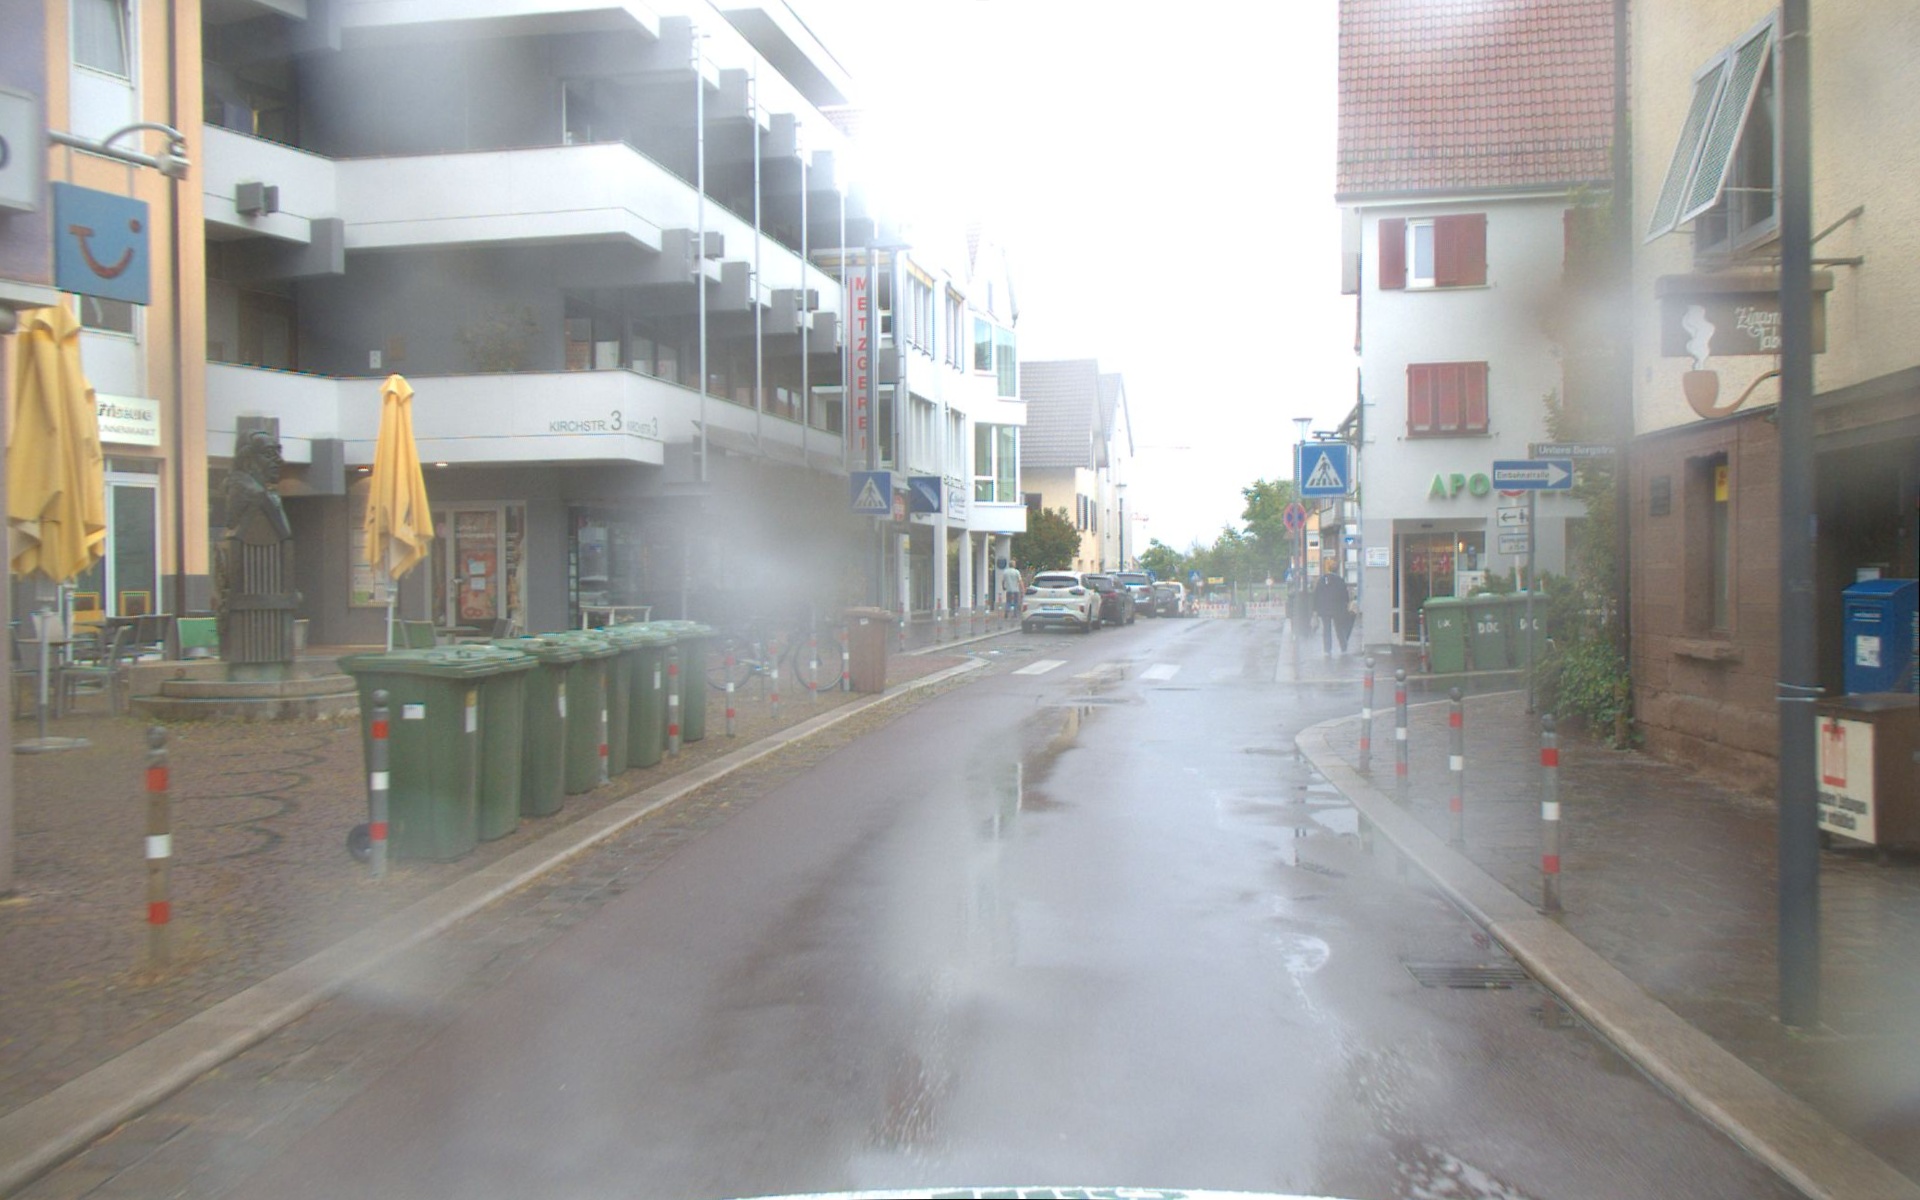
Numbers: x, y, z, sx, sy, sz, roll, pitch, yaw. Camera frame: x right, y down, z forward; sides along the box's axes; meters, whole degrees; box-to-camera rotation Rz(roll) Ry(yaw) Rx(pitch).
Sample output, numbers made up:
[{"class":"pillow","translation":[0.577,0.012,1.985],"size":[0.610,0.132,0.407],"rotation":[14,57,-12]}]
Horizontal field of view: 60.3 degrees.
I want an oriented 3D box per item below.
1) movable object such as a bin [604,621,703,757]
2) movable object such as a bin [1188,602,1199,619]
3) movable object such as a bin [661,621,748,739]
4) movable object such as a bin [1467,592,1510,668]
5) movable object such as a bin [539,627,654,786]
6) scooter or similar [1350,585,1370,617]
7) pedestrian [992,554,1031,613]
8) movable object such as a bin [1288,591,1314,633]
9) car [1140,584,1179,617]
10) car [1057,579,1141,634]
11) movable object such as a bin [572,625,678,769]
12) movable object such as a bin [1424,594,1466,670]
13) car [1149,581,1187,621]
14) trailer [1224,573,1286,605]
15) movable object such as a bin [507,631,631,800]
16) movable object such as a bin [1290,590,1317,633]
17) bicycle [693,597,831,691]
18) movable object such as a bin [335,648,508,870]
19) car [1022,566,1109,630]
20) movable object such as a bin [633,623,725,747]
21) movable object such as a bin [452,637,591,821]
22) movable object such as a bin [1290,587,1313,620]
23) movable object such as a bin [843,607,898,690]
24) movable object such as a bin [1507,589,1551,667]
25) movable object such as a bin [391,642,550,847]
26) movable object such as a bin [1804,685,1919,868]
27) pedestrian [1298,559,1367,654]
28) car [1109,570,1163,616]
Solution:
[{"class":"movable object such as a bin","translation":[-2.557,0.731,13.842],"size":[0.672,1.095,0.669],"rotation":[0,0,3]},{"class":"movable object such as a bin","translation":[15.612,0.700,110.558],"size":[0.536,1.051,0.531],"rotation":[-4,-4,45]},{"class":"movable object such as a bin","translation":[-2.371,0.734,15.407],"size":[0.672,1.057,0.669],"rotation":[0,0,3]},{"class":"movable object such as a bin","translation":[7.586,0.433,23.766],"size":[0.490,1.075,0.549],"rotation":[-2,-2,11]},{"class":"movable object such as a bin","translation":[-2.678,0.769,12.238],"size":[0.672,1.124,0.669],"rotation":[0,0,3]},{"class":"scooter or similar","translation":[15.195,0.038,62.813],"size":[0.651,1.166,1.446],"rotation":[0,-1,18]},{"class":"pedestrian","translation":[1.617,-0.513,51.557],"size":[1.013,1.837,1.117],"rotation":[1,0,12]},{"class":"movable object such as a bin","translation":[8.975,0.306,43.546],"size":[0.662,1.103,0.698],"rotation":[0,0,13]},{"class":"car","translation":[9.005,0.060,74.544],"size":[1.645,1.413,3.828],"rotation":[0,-1,8]},{"class":"car","translation":[4.161,0.170,48.805],"size":[1.791,1.525,4.767],"rotation":[-1,0,13]},{"class":"movable object such as a bin","translation":[-2.632,0.749,13.060],"size":[0.672,1.092,0.669],"rotation":[0,0,3]},{"class":"movable object such as a bin","translation":[7.005,0.465,23.885],"size":[0.490,1.075,0.549],"rotation":[-2,-2,11]},{"class":"car","translation":[10.133,0.062,80.340],"size":[1.686,1.857,4.432],"rotation":[0,-1,9]},{"class":"trailer","translation":[27.771,-1.025,155.759],"size":[5.658,2.999,2.001],"rotation":[0,-1,6]},{"class":"movable object such as a bin","translation":[-2.709,0.786,11.508],"size":[0.672,1.124,0.669],"rotation":[0,0,3]},{"class":"movable object such as a bin","translation":[8.889,0.301,42.779],"size":[0.662,1.105,0.718],"rotation":[0,0,13]},{"class":"bicycle","translation":[-2.514,0.559,21.041],"size":[1.713,1.185,0.443],"rotation":[0,-1,-8]},{"class":"movable object such as a bin","translation":[-2.826,0.815,8.735],"size":[0.672,1.097,0.677],"rotation":[0,0,3]},{"class":"car","translation":[2.807,-0.060,43.108],"size":[1.753,1.578,4.004],"rotation":[1,0,11]},{"class":"movable object such as a bin","translation":[-2.481,0.742,14.663],"size":[0.672,1.060,0.669],"rotation":[0,0,3]},{"class":"movable object such as a bin","translation":[-2.745,0.791,10.401],"size":[0.672,1.100,0.669],"rotation":[0,0,3]},{"class":"movable object such as a bin","translation":[12.011,0.125,58.179],"size":[0.786,1.151,0.863],"rotation":[0,-1,10]},{"class":"movable object such as a bin","translation":[-1.148,0.609,21.167],"size":[0.673,1.038,0.631],"rotation":[0,0,-6]},{"class":"movable object such as a bin","translation":[8.130,0.401,23.644],"size":[0.490,1.075,0.549],"rotation":[-2,-2,11]},{"class":"movable object such as a bin","translation":[-2.791,0.806,9.485],"size":[0.672,1.106,0.713],"rotation":[0,0,3]},{"class":"movable object such as a bin","translation":[4.978,0.918,8.817],"size":[0.534,0.851,0.910],"rotation":[-2,0,6]},{"class":"pedestrian","translation":[7.017,0.125,31.228],"size":[1.152,1.727,1.178],"rotation":[-2,0,9]},{"class":"car","translation":[6.589,-0.229,61.547],"size":[1.742,1.596,4.411],"rotation":[0,-1,10]}]
